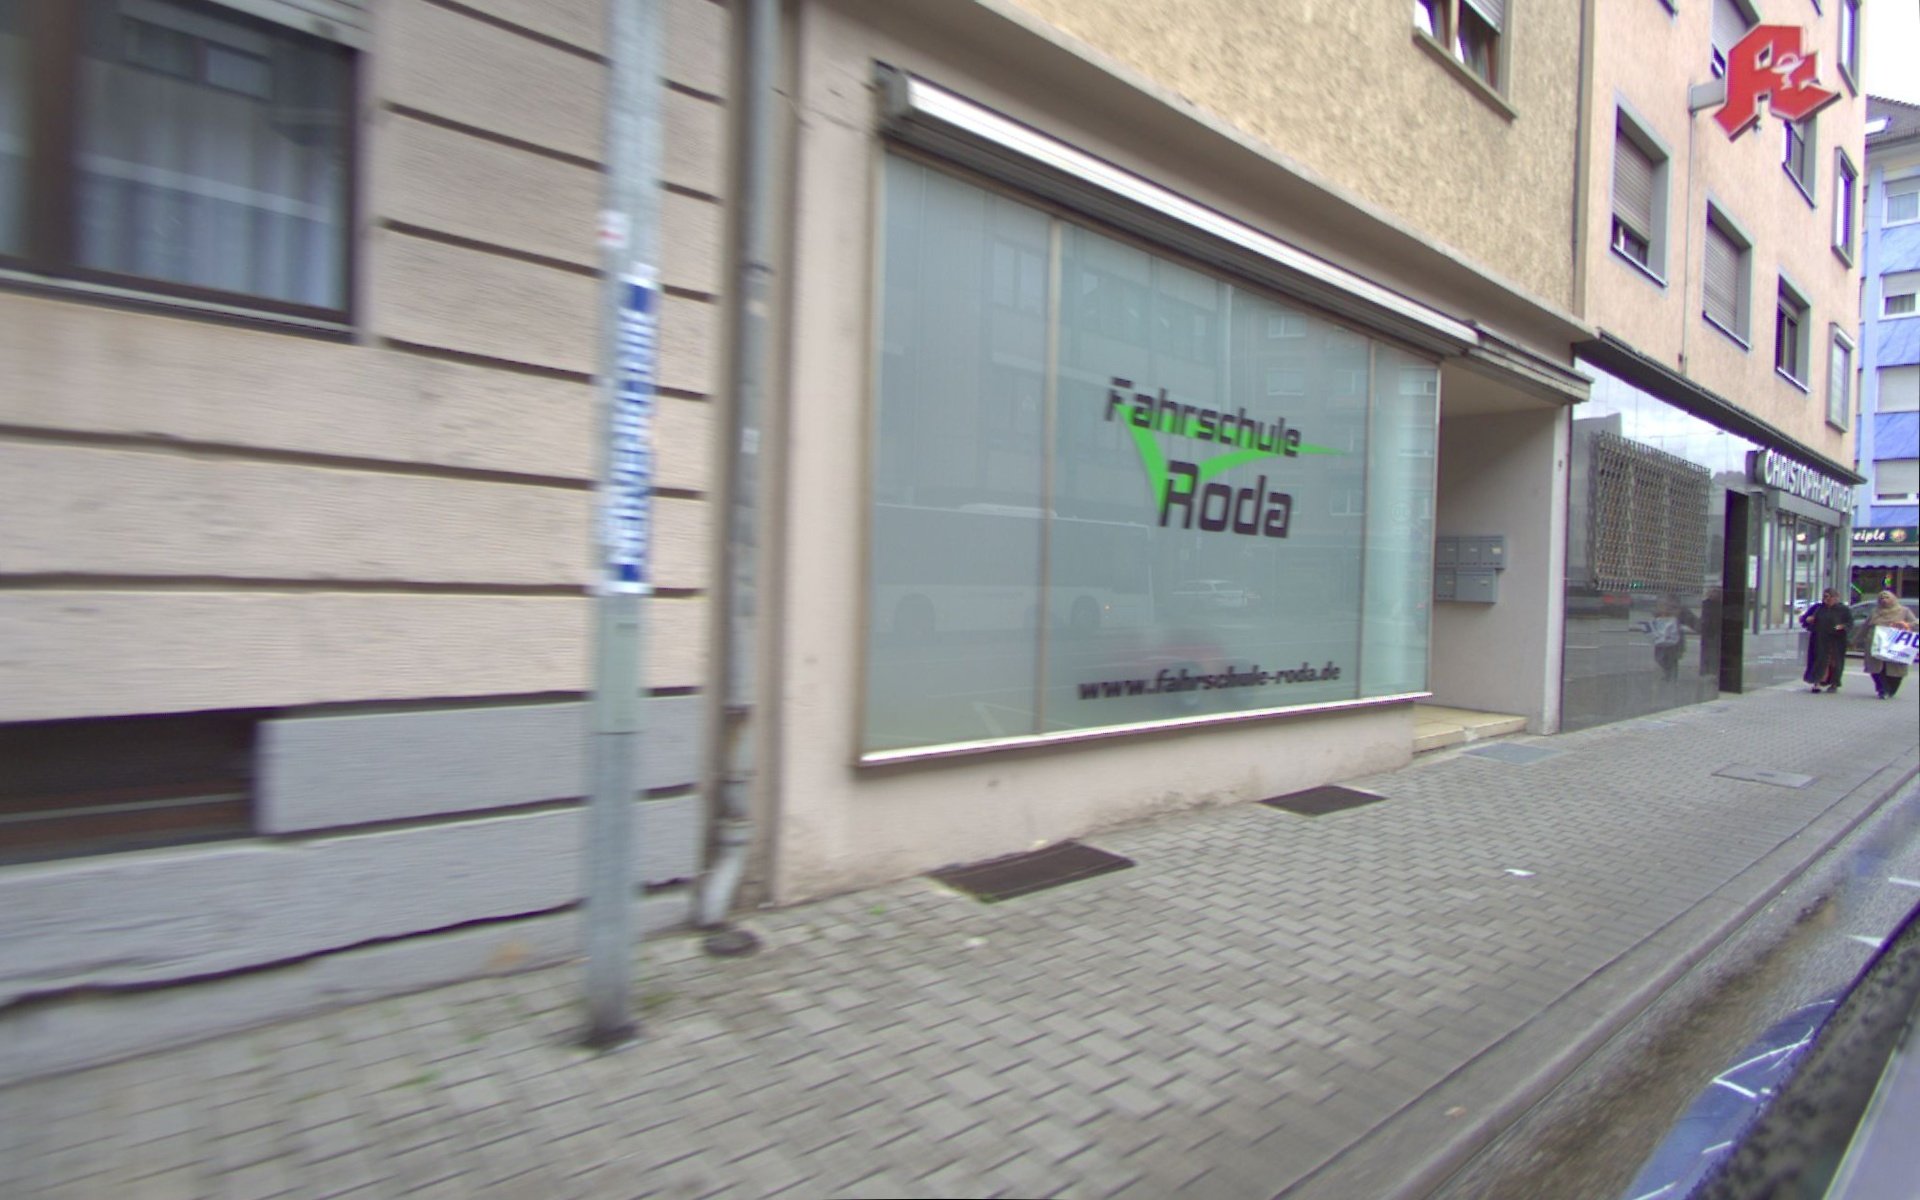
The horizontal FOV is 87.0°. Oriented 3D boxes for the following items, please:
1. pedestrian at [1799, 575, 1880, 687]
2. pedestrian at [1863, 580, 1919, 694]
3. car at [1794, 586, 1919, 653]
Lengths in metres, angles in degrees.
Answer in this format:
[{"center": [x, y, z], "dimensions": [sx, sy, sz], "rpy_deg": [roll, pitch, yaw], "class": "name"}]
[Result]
[{"center": [13.011, 0.435, 14.966], "dimensions": [0.861, 1.579, 0.769], "rpy_deg": [0, 2, -42], "class": "pedestrian"}, {"center": [13.512, 0.508, 14.470], "dimensions": [0.769, 1.579, 0.780], "rpy_deg": [0, 2, -42], "class": "pedestrian"}, {"center": [24.487, 0.504, 26.387], "dimensions": [1.899, 1.593, 3.839], "rpy_deg": [0, 2, -35], "class": "car"}]
